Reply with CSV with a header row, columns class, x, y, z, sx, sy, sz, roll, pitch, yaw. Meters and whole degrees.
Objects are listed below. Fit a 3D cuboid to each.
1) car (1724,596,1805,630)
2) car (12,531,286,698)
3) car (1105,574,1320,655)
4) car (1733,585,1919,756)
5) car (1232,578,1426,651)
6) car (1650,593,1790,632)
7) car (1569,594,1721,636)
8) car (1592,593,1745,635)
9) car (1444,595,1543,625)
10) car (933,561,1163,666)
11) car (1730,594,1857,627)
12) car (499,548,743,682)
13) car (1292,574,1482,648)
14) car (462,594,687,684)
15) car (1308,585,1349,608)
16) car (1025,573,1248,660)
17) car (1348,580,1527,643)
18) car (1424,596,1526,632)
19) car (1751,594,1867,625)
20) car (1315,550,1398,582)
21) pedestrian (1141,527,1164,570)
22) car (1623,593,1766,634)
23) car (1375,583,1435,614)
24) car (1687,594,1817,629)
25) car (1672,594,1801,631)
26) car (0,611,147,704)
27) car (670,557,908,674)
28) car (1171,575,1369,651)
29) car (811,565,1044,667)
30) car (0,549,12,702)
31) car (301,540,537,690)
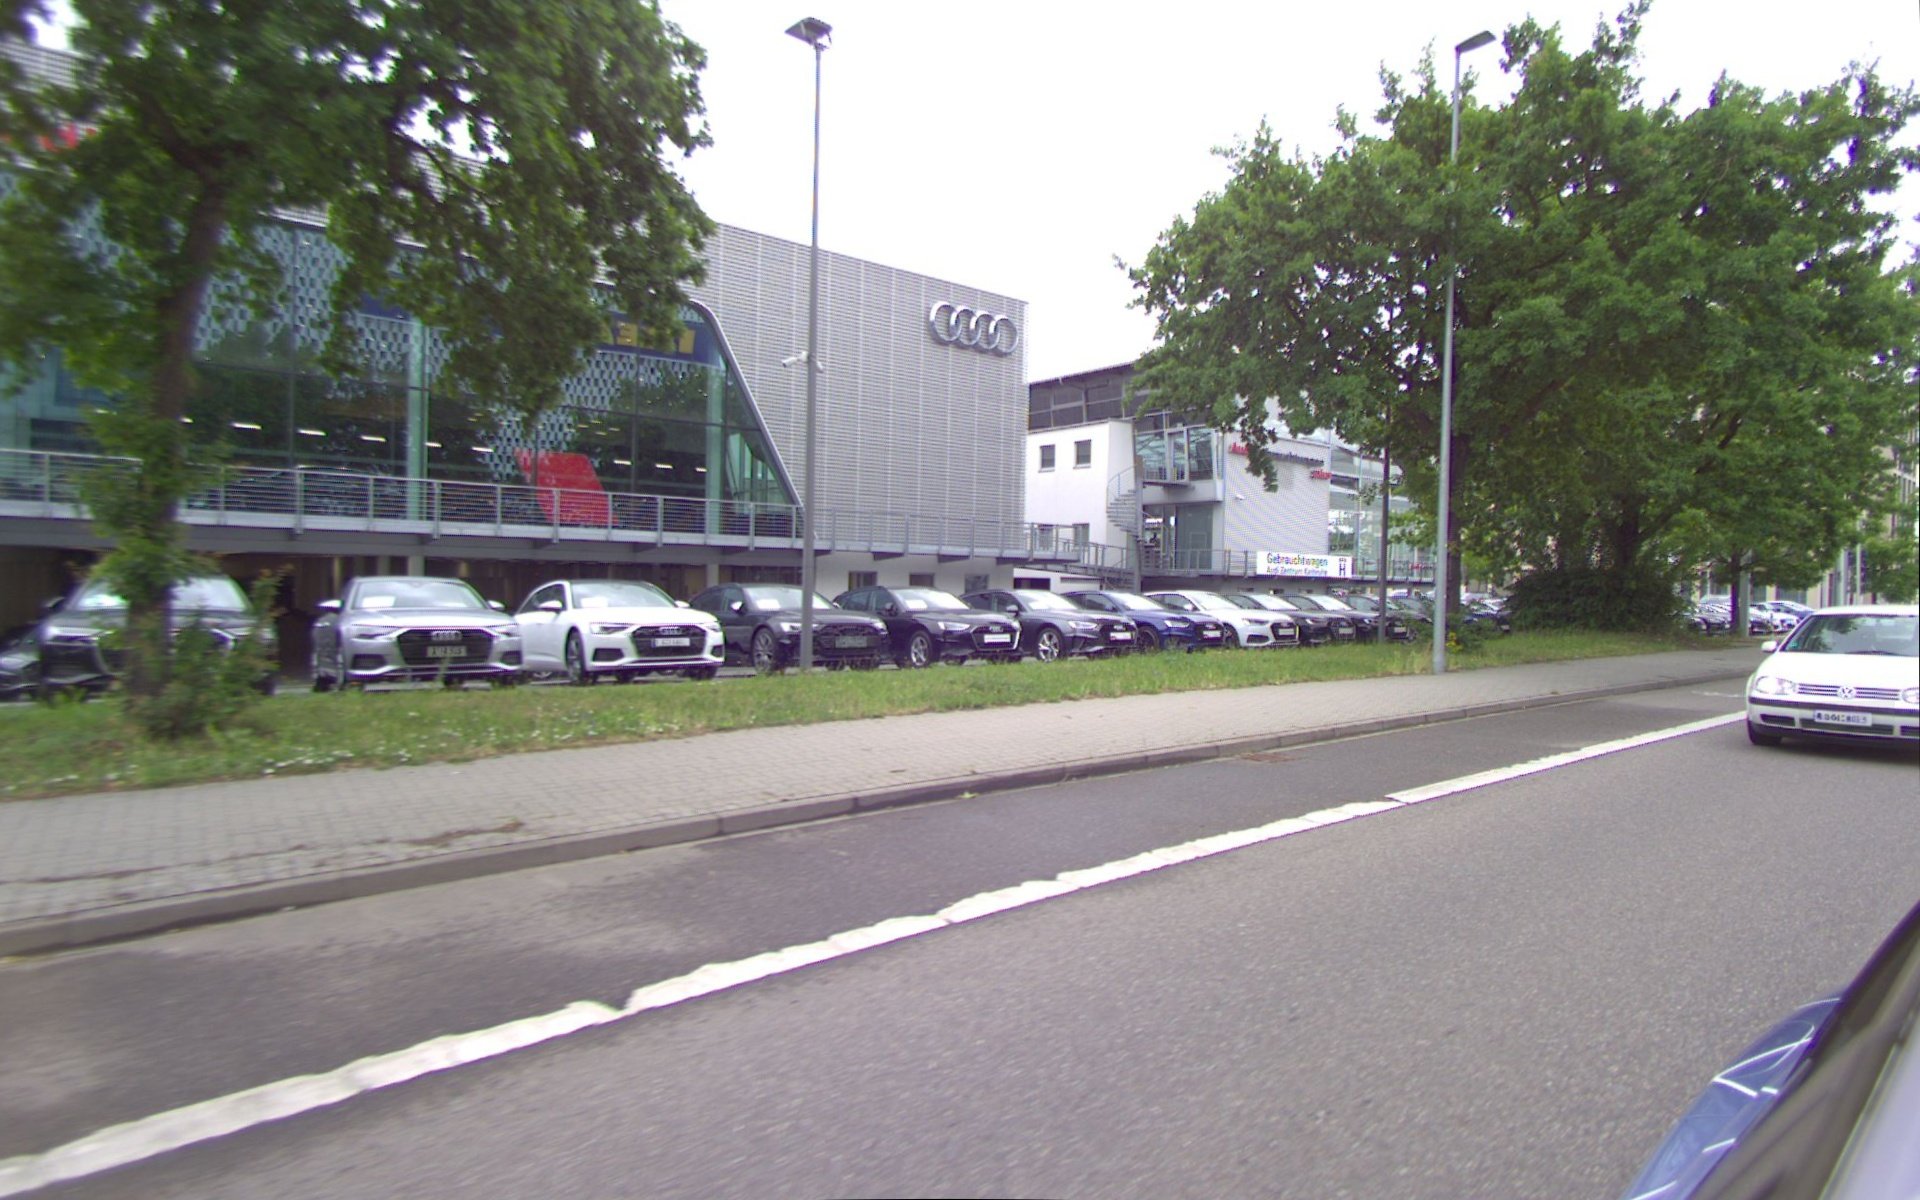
class,x,y,z,sx,sy,sz,roll,pitch,yaw
car,37.959,0.604,47.709,4.667,1.505,1.891,0,-2,-37
car,-8.678,0.306,11.081,1.923,1.465,4.185,3,-6,-36
car,5.334,0.402,21.850,1.923,1.506,4.204,3,-5,-38
car,9.706,0.647,10.391,3.930,1.496,1.838,1,0,-37
car,9.143,0.436,25.390,1.792,1.506,4.215,3,-6,-38
car,31.222,0.547,41.673,1.836,1.505,4.229,1,-2,-37
car,24.685,0.556,36.565,1.868,1.409,4.164,1,-2,-38
car,26.705,0.548,38.277,1.860,1.489,4.375,1,-2,-38
car,28.399,0.570,53.991,1.892,1.505,4.260,2,-3,-37
car,1.496,0.359,18.747,1.962,1.685,4.186,2,-5,-36
car,41.131,0.549,50.014,2.033,1.505,4.511,-1,-1,-39
car,-4.876,0.353,14.168,1.962,1.541,4.403,3,-6,-37
car,11.279,0.375,26.967,1.841,1.624,4.244,3,-6,-38
car,-7.930,0.798,20.972,3.926,1.683,1.898,3,-1,-38
car,28.830,-0.279,79.229,1.888,1.679,4.440,0,0,5
car,3.410,0.426,20.231,1.940,1.506,4.191,3,-5,-37
car,13.356,0.391,28.525,1.836,1.412,4.130,3,-6,-38
car,26.371,0.697,51.969,1.777,1.717,4.316,3,-1,-38
car,43.357,0.469,51.774,1.840,1.505,4.227,0,0,-37
car,22.443,-1.883,57.382,1.792,1.683,3.996,3,-1,-39
pedestrian,9.414,-2.493,49.491,0.786,2.039,0.746,3,-1,-39
car,28.979,0.553,40.034,1.874,1.505,4.186,1,-2,-38
car,32.009,-0.129,72.753,4.821,2.038,1.998,-2,2,-39
car,35.177,0.541,45.038,1.818,1.505,4.195,1,-2,-37
car,33.172,0.551,43.332,1.842,1.505,4.041,1,-2,-37
car,-15.828,1.070,17.982,1.923,1.465,4.185,3,-6,-36
car,-2.769,0.357,15.627,1.962,1.489,4.185,3,-6,-36
car,7.085,0.383,23.446,1.785,1.506,4.071,3,-5,-38
car,-0.687,0.369,17.046,1.897,1.476,4.186,2,-5,-36
car,-10.729,0.146,9.564,1.962,1.725,4.560,3,-6,-36
car,-6.865,0.300,12.607,1.991,1.524,4.304,1,-4,-36
